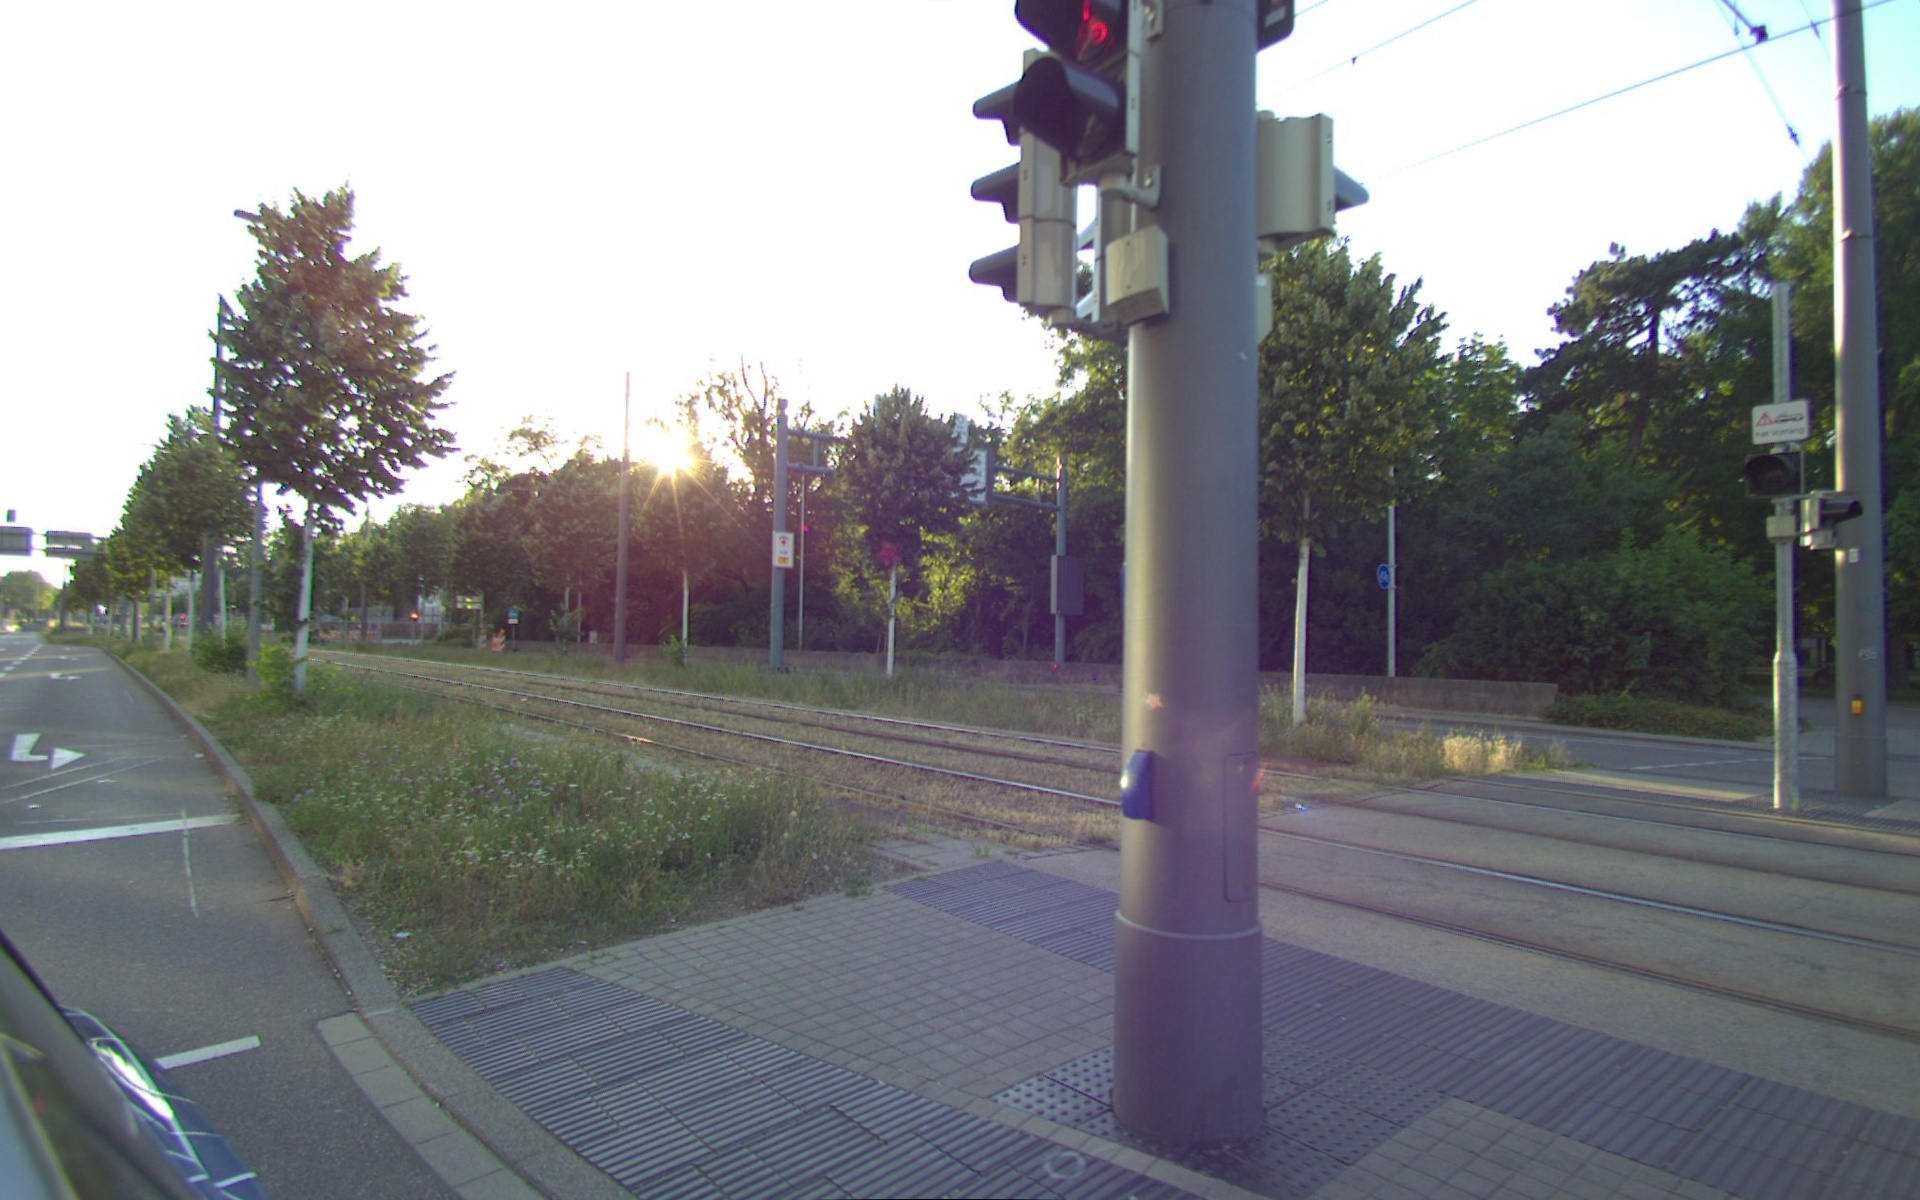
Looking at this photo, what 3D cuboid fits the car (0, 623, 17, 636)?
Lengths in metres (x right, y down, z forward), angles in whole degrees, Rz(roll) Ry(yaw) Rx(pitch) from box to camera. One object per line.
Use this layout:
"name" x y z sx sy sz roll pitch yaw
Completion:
"car" -144.284 4.449 153.432 4.296 1.935 1.703 -2 -1 44
